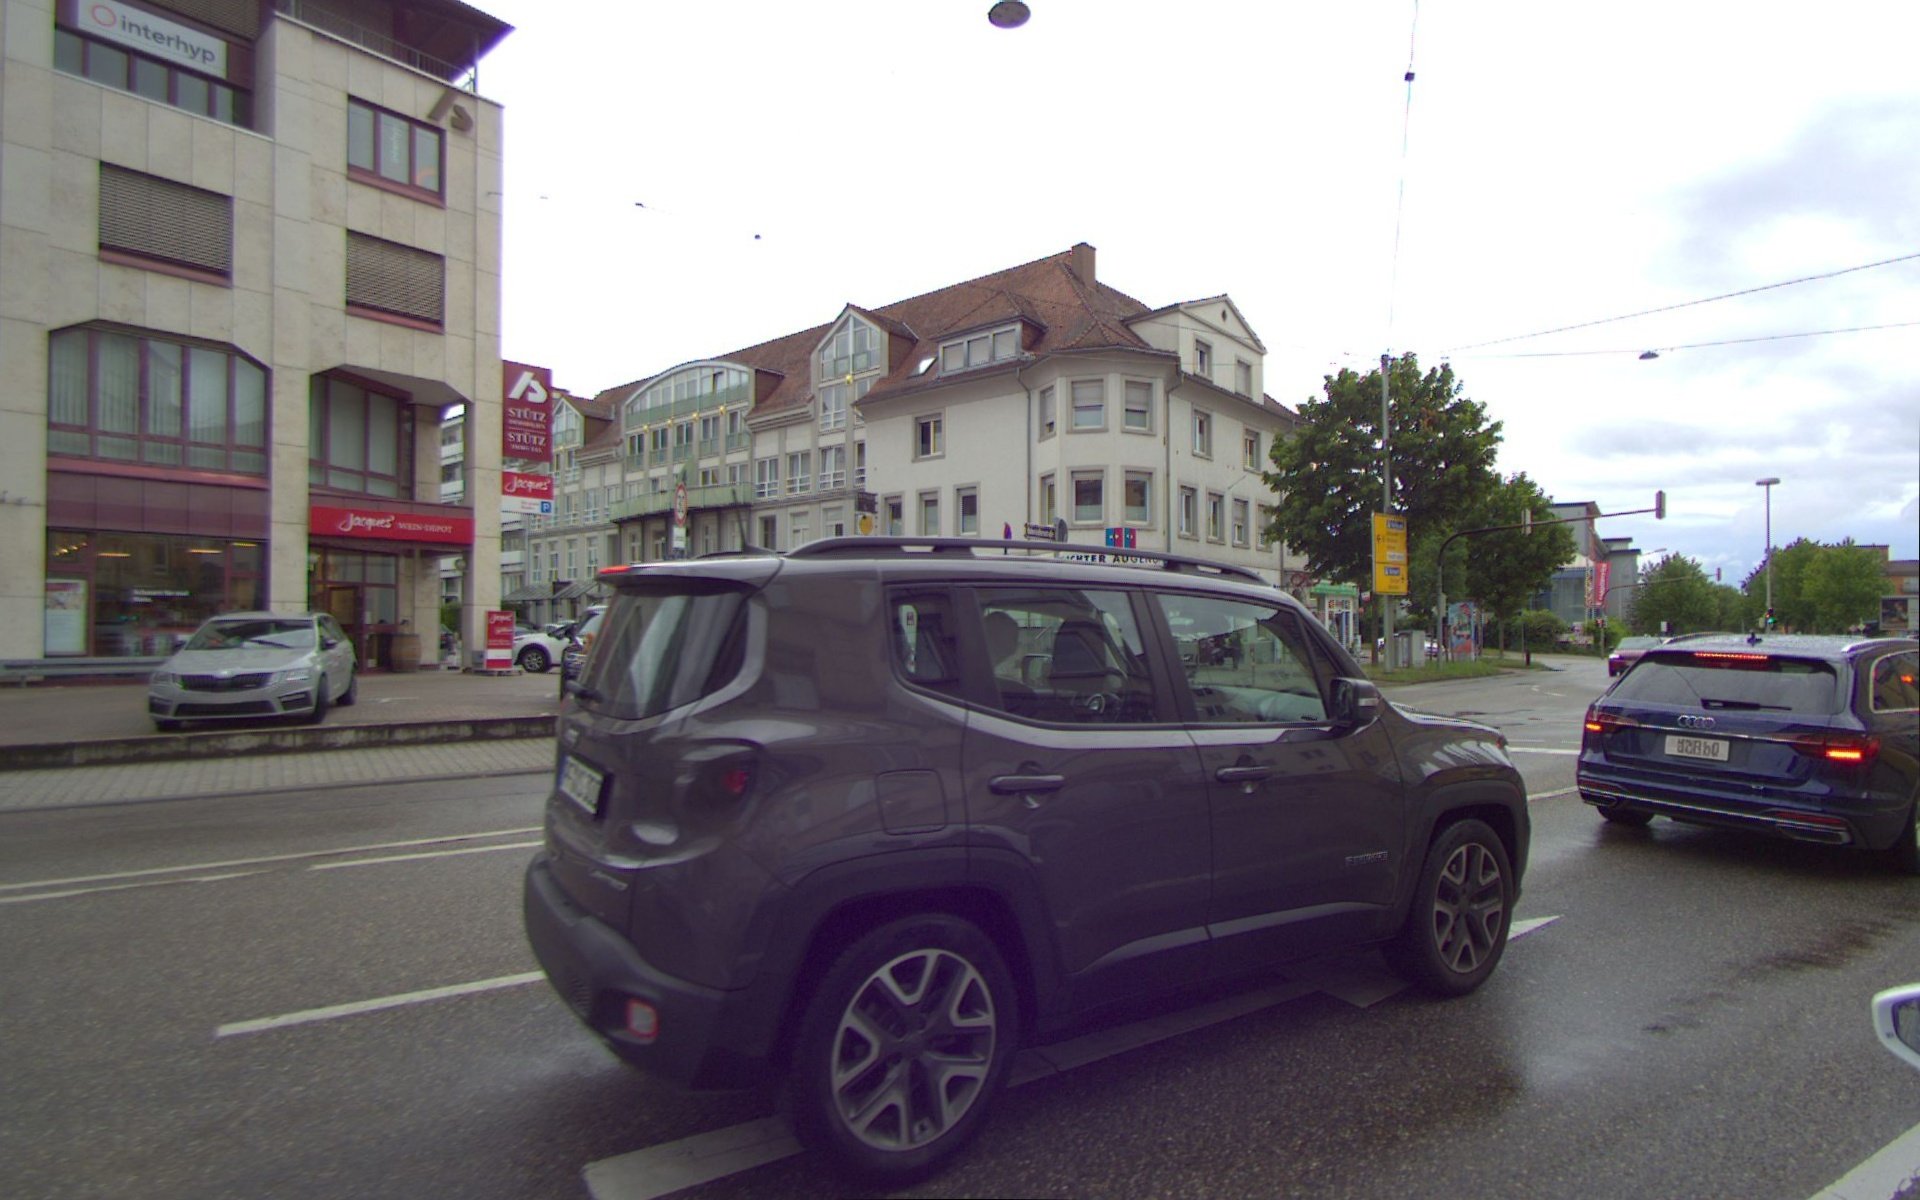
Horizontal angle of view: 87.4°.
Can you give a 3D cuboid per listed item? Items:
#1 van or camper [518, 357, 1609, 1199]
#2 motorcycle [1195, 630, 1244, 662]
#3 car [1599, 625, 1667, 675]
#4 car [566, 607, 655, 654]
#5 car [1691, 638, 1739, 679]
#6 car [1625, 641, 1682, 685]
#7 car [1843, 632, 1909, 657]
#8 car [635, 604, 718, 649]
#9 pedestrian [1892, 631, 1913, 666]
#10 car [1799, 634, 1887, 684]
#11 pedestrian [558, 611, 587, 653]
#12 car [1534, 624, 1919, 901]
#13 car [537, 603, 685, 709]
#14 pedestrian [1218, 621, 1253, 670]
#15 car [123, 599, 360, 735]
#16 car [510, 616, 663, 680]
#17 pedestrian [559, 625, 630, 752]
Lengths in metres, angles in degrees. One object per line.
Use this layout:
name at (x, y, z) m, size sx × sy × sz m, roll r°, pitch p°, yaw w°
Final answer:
van or camper at (0.612, 0.621, 4.012) m, size 4.099 × 2.175 × 1.843 m, roll 1°, pitch -1°, yaw -34°
motorcycle at (10.313, 1.814, 39.860) m, size 0.712 × 1.194 × 2.573 m, roll 0°, pitch -1°, yaw 44°
car at (25.422, 1.837, 37.871) m, size 1.821 × 1.706 × 3.983 m, roll 1°, pitch 0°, yaw 38°
car at (-15.722, 1.344, 45.117) m, size 3.938 × 2.040 × 1.991 m, roll -1°, pitch -1°, yaw 39°
car at (40.468, 3.102, 53.824) m, size 1.969 × 2.040 × 3.983 m, roll -1°, pitch -1°, yaw 38°
car at (29.044, 2.588, 42.037) m, size 1.742 × 1.656 × 3.610 m, roll 0°, pitch -1°, yaw 38°
car at (84.320, 4.103, 92.534) m, size 3.924 × 2.040 × 1.998 m, roll 3°, pitch 1°, yaw 25°
car at (-13.586, 1.259, 48.057) m, size 3.940 × 2.040 × 1.991 m, roll -1°, pitch -1°, yaw 40°
pedestrian at (53.096, 2.736, 56.570) m, size 0.712 × 1.962 × 0.791 m, roll 0°, pitch -1°, yaw 33°
car at (35.273, 2.292, 40.242) m, size 1.965 × 1.840 × 3.991 m, roll 0°, pitch -1°, yaw 31°
pedestrian at (-17.131, 1.412, 44.390) m, size 1.168 × 1.853 × 1.062 m, roll 0°, pitch -1°, yaw -21°
car at (6.306, 0.940, 7.345) m, size 4.635 × 1.424 × 1.792 m, roll 2°, pitch -1°, yaw -34°
car at (-5.689, 0.876, 16.899) m, size 1.921 × 1.526 × 4.420 m, roll 1°, pitch -1°, yaw -14°
pedestrian at (9.828, 1.611, 35.837) m, size 0.949 × 1.731 × 0.932 m, roll 0°, pitch -1°, yaw 35°
car at (-9.588, 0.780, 13.804) m, size 1.861 × 1.546 × 4.431 m, roll 1°, pitch 0°, yaw -26°
car at (-10.159, 1.305, 27.568) m, size 3.698 × 1.519 × 1.578 m, roll 4°, pitch -2°, yaw -15°
pedestrian at (-4.713, 1.116, 12.937) m, size 0.751 × 1.550 × 0.506 m, roll 2°, pitch 0°, yaw 40°
